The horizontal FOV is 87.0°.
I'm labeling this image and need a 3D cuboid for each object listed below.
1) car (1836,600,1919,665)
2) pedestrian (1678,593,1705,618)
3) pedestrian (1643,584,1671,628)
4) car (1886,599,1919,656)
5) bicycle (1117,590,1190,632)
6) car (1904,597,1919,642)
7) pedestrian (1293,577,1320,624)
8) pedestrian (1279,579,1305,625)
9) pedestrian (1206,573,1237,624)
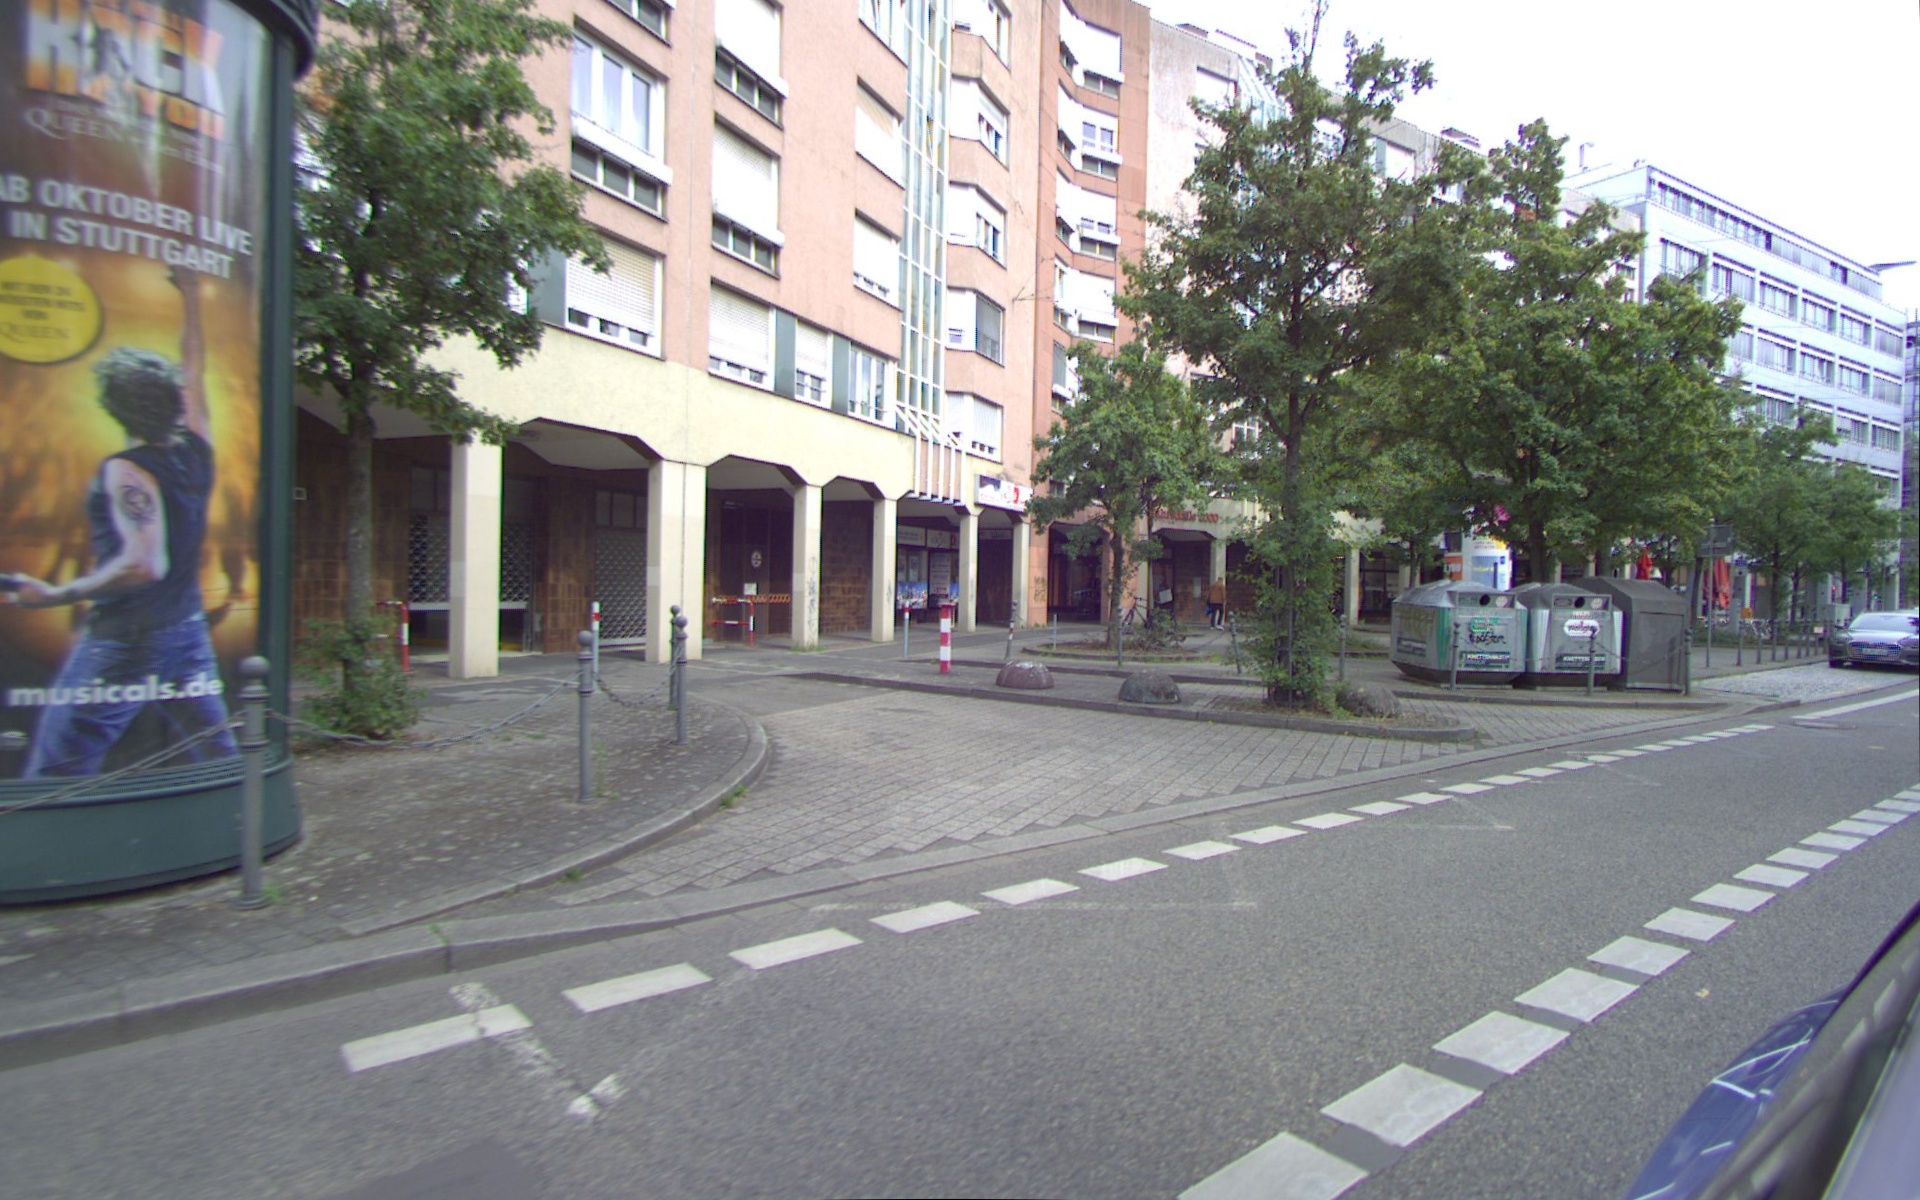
[{"bbox_3d":[23.729,0.781,25.444,4.582,1.460,1.821,1,2,-40],"label":"car"},{"bbox_3d":[35.481,0.261,49.076,0.685,1.171,0.824,1,1,-30],"label":"pedestrian"},{"bbox_3d":[25.707,0.229,37.332,0.668,1.606,0.608,1,0,-32],"label":"pedestrian"},{"bbox_3d":[28.138,0.809,29.092,4.324,1.537,1.743,1,2,-41],"label":"car"},{"bbox_3d":[5.450,0.310,28.591,1.928,1.126,0.597,1,1,4],"label":"bicycle"},{"bbox_3d":[38.008,0.789,38.955,4.088,1.674,1.866,1,2,-39],"label":"car"},{"bbox_3d":[12.712,0.021,37.103,0.668,1.683,0.608,1,0,-32],"label":"pedestrian"},{"bbox_3d":[12.366,0.061,37.745,0.668,1.683,0.608,1,0,-32],"label":"pedestrian"},{"bbox_3d":[8.845,-0.050,34.198,0.834,1.683,0.535,1,0,-30],"label":"pedestrian"}]
